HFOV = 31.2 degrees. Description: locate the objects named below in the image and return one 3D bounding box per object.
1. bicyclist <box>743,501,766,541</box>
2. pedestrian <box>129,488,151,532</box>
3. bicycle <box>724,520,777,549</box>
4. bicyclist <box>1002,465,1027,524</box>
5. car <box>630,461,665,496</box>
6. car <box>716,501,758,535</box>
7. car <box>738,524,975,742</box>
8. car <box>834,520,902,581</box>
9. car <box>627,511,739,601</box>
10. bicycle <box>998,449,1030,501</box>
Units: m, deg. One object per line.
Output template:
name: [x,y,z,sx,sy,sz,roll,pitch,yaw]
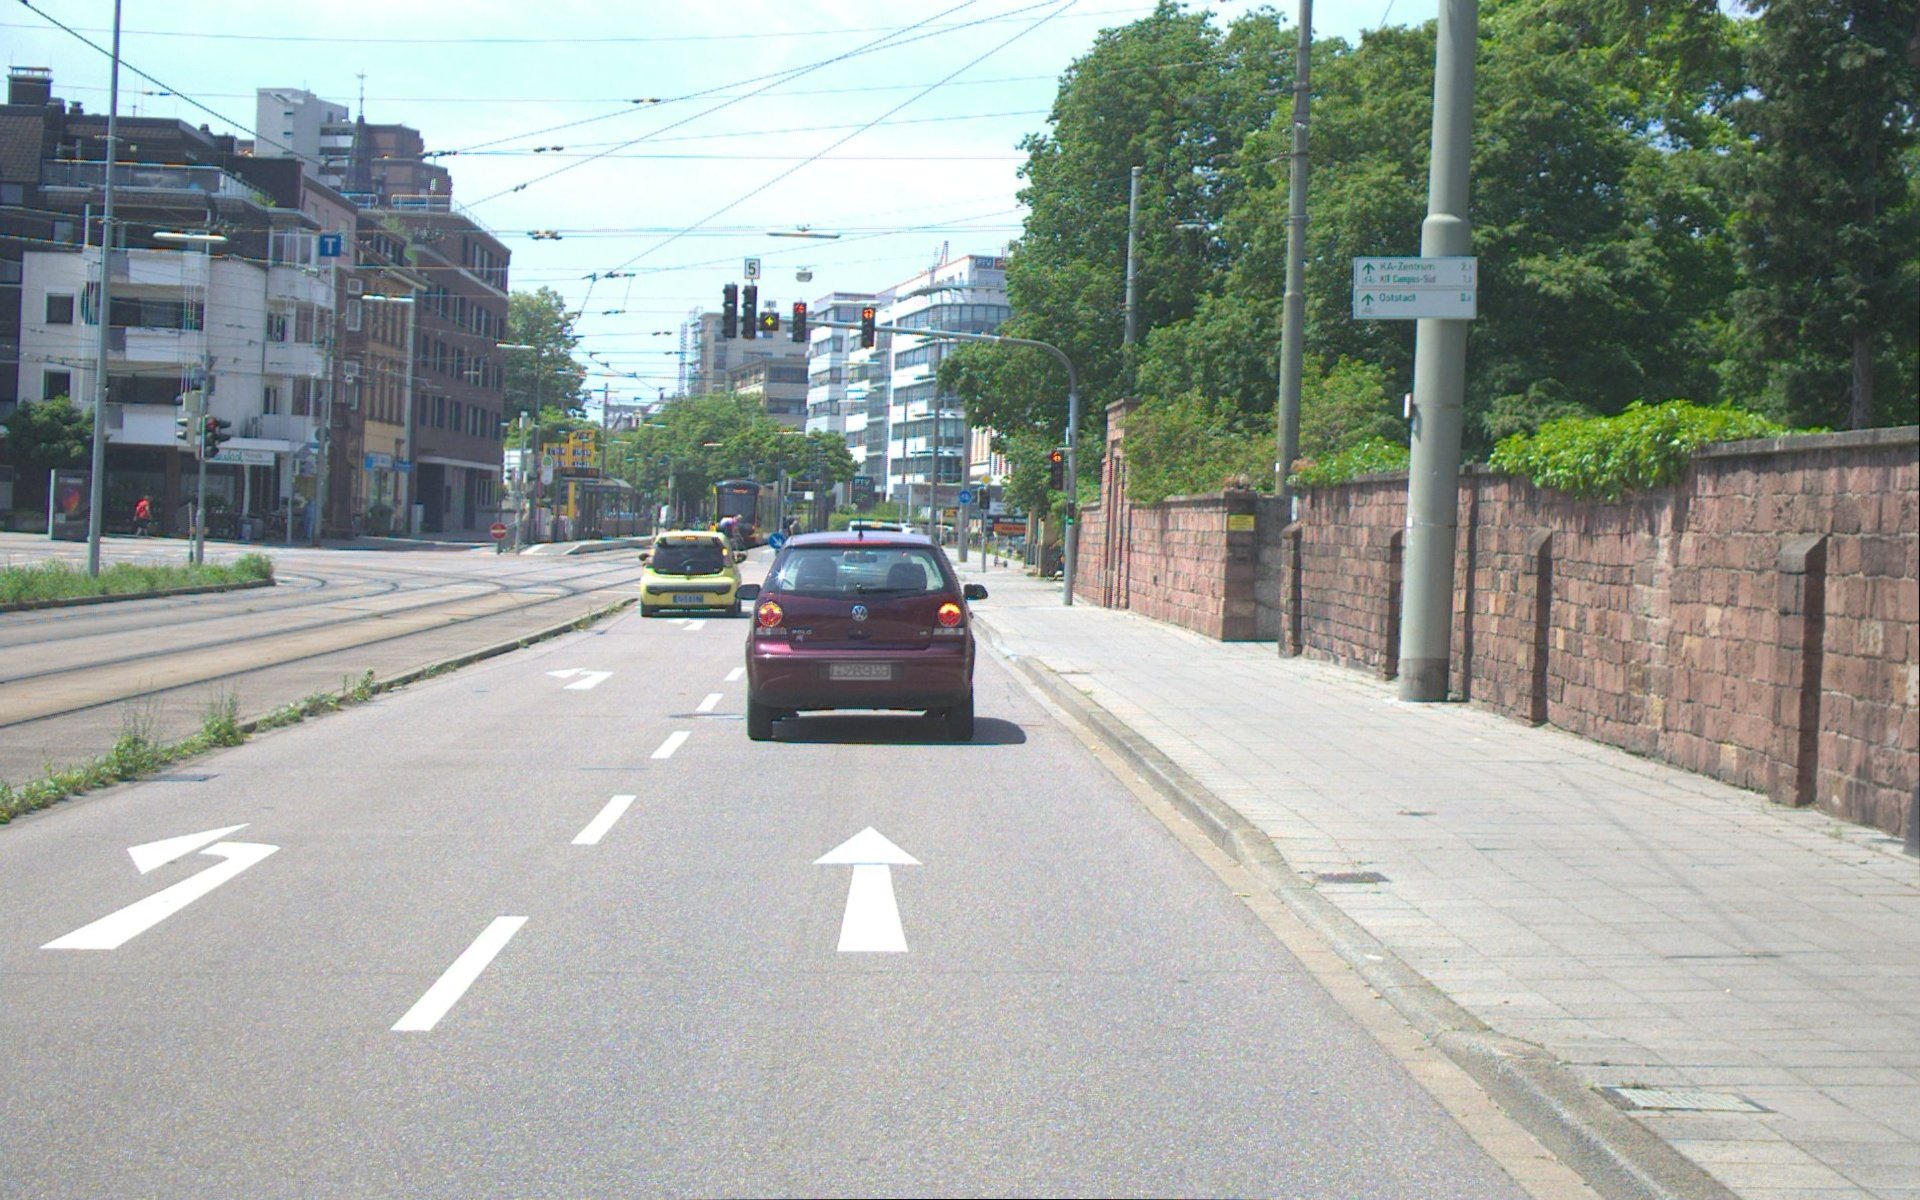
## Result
bicyclist: [-7.399,-2.846,123.725,0.765,1.401,0.506,1,1,-5]
pedestrian: [-28.708,-3.151,120.340,0.485,1.535,0.537,1,1,43]
bicycle: [-7.527,-2.353,123.697,1.865,1.004,0.579,1,1,-5]
bicyclist: [1.690,-3.290,107.135,0.721,1.812,0.889,1,1,-1]
car: [-18.855,-7.333,207.577,1.735,2.006,4.001,2,2,-1]
car: [-11.042,-4.045,170.387,1.938,1.635,4.000,1,1,-2]
car: [-0.765,0.180,25.441,1.610,1.458,4.086,0,2,-2]
car: [-2.188,-1.193,81.623,1.572,1.411,3.720,0,2,-2]
car: [-4.677,-0.762,58.417,1.723,1.440,3.293,0,2,-2]
bicycle: [1.686,-3.880,107.512,0.835,1.520,4.000,1,1,-1]
